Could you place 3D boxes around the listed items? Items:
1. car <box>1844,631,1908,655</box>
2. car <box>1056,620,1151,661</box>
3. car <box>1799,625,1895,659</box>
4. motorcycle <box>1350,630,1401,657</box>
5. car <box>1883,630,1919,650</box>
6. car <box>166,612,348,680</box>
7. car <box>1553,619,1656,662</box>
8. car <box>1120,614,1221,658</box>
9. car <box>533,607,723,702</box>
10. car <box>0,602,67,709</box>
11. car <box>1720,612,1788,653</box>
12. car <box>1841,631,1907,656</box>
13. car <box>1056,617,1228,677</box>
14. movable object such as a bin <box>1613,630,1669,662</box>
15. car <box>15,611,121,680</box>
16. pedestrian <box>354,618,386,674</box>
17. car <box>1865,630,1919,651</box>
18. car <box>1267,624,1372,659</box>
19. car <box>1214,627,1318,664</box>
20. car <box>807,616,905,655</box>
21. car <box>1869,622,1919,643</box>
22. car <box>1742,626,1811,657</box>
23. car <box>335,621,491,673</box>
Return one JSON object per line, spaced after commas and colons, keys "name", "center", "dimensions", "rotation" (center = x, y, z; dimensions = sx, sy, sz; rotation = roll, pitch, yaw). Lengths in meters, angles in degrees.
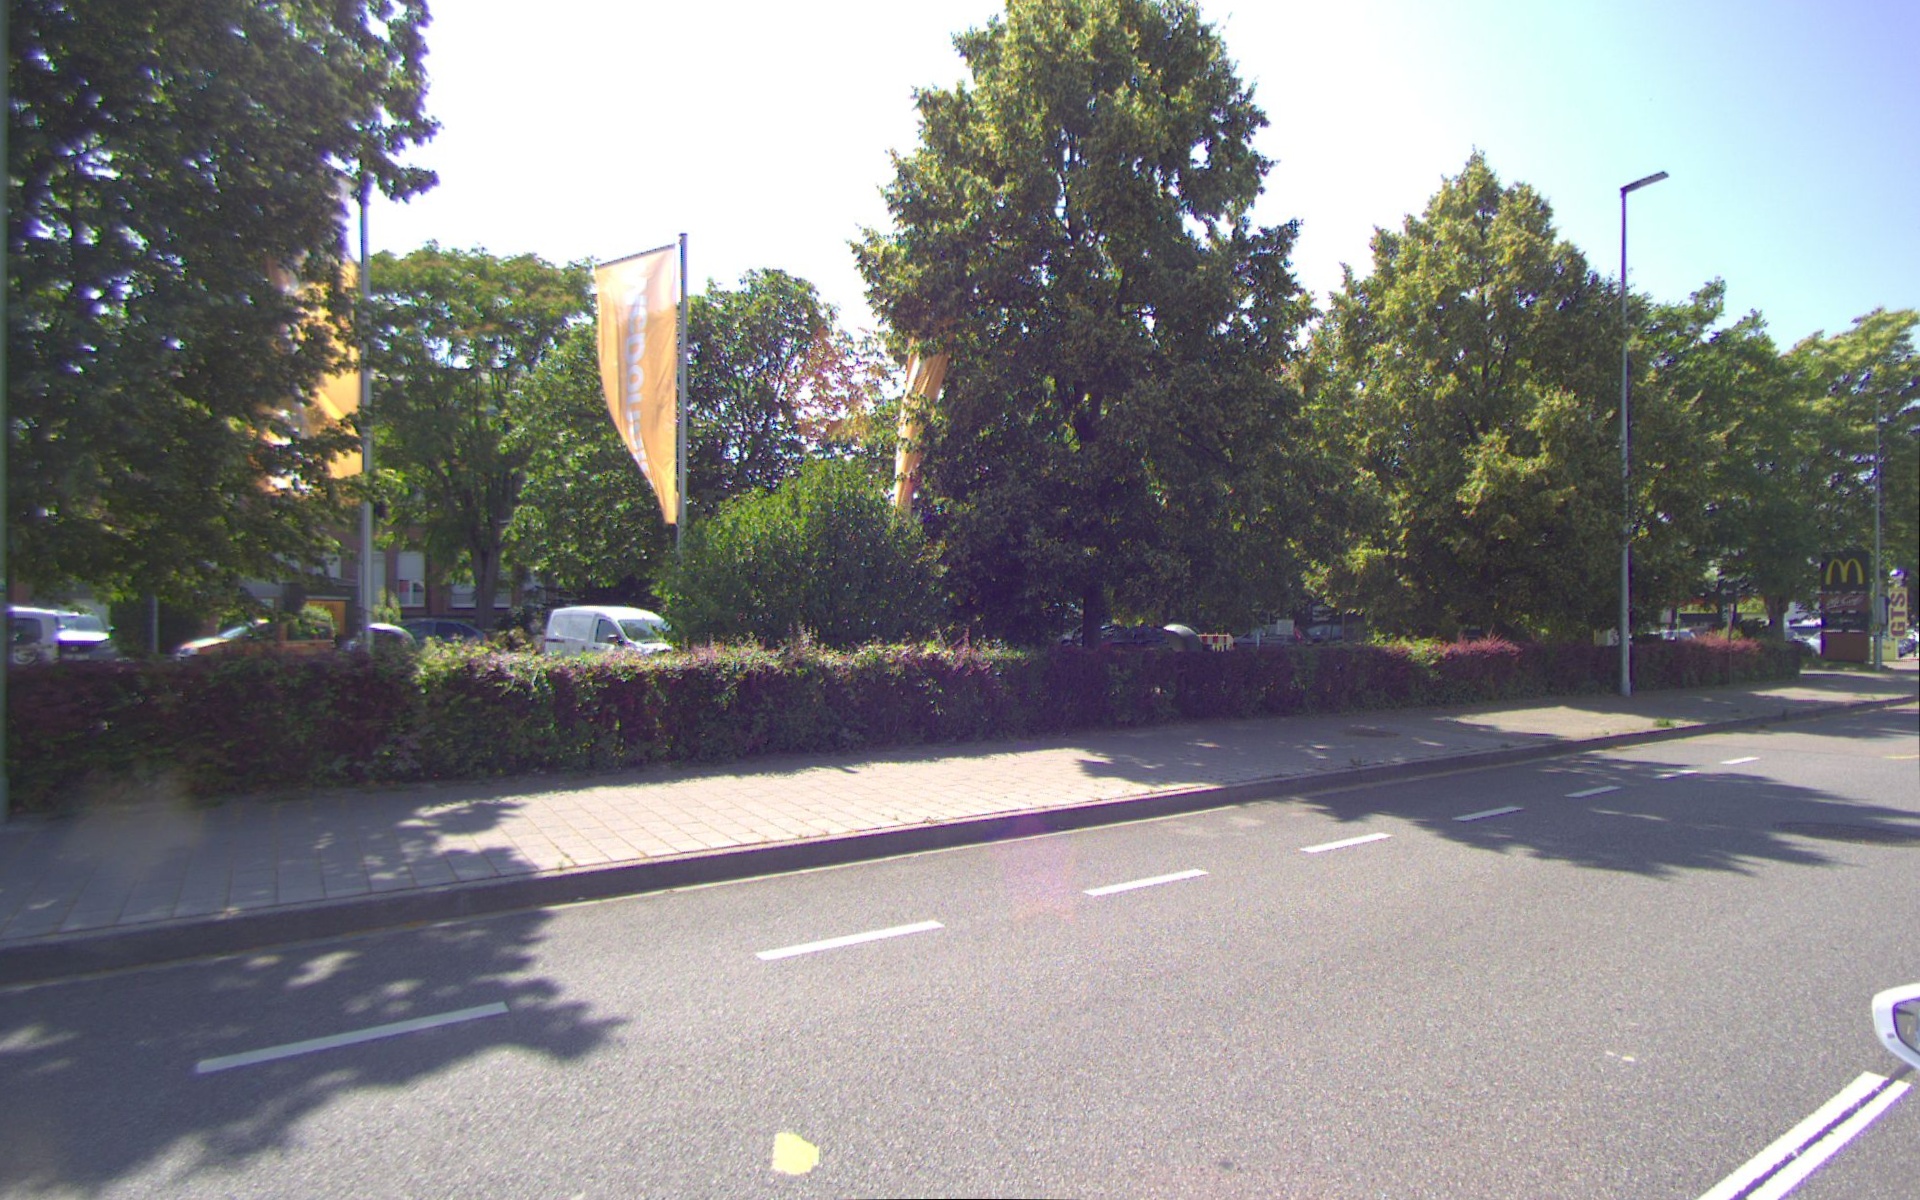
{"name": "car", "center": [61.838, 2.910, 67.892], "dimensions": [1.751, 1.492, 4.000], "rotation": [-3, -4, 21]}
{"name": "car", "center": [6.154, 1.717, 43.363], "dimensions": [3.792, 1.609, 1.635], "rotation": [1, -1, 41]}
{"name": "car", "center": [50.225, 2.428, 57.003], "dimensions": [1.941, 1.728, 4.669], "rotation": [-2, -5, 12]}
{"name": "motorcycle", "center": [19.029, 1.994, 46.031], "dimensions": [2.143, 1.147, 0.569], "rotation": [1, 0, 26]}
{"name": "car", "center": [74.544, 3.104, 78.673], "dimensions": [1.747, 1.492, 4.001], "rotation": [-3, -3, 18]}
{"name": "car", "center": [-18.706, 1.181, 26.850], "dimensions": [1.645, 1.653, 3.704], "rotation": [1, -1, 42]}
{"name": "car", "center": [32.216, 2.062, 50.385], "dimensions": [1.857, 1.945, 4.524], "rotation": [-2, -4, -5]}
{"name": "car", "center": [9.211, 1.549, 44.060], "dimensions": [3.965, 1.755, 1.792], "rotation": [1, -1, 42]}
{"name": "car", "center": [-7.166, 1.078, 21.512], "dimensions": [4.284, 1.852, 1.743], "rotation": [0, 0, 37]}
{"name": "car", "center": [-17.829, 0.932, 16.637], "dimensions": [1.729, 1.823, 4.218], "rotation": [1, -1, 32]}
{"name": "car", "center": [56.237, 2.324, 71.088], "dimensions": [6.095, 2.794, 2.261], "rotation": [2, -3, -37]}
{"name": "car", "center": [58.071, 2.775, 63.873], "dimensions": [1.807, 1.492, 3.998], "rotation": [-3, -3, 23]}
{"name": "car", "center": [5.343, 1.340, 29.211], "dimensions": [4.980, 1.581, 2.054], "rotation": [2, -2, -35]}
{"name": "movable object such as a bin", "center": [34.429, 2.346, 50.837], "dimensions": [1.432, 1.546, 1.769], "rotation": [-2, -2, -18]}
{"name": "car", "center": [-22.362, 1.087, 25.143], "dimensions": [3.561, 1.552, 1.612], "rotation": [0, -1, 43]}
{"name": "pedestrian", "center": [-17.394, 1.341, 29.621], "dimensions": [0.502, 1.611, 0.687], "rotation": [1, 0, 45]}
{"name": "car", "center": [71.441, 3.109, 76.933], "dimensions": [1.639, 1.492, 4.001], "rotation": [-3, -3, 18]}
{"name": "car", "center": [15.914, 1.800, 44.588], "dimensions": [4.036, 1.406, 1.761], "rotation": [0, -1, 42]}
{"name": "car", "center": [13.149, 1.930, 43.310], "dimensions": [4.012, 1.414, 1.619], "rotation": [0, -1, 42]}
{"name": "car", "center": [-4.360, 1.440, 41.752], "dimensions": [3.987, 1.470, 1.786], "rotation": [1, -1, 41]}
{"name": "car", "center": [92.633, 3.237, 99.351], "dimensions": [3.876, 1.985, 1.751], "rotation": [1, -1, 40]}
{"name": "car", "center": [47.219, 2.447, 58.190], "dimensions": [2.010, 1.729, 4.313], "rotation": [-1, -4, 24]}
{"name": "car", "center": [-17.575, 1.469, 32.387], "dimensions": [4.140, 1.537, 1.743], "rotation": [2, -1, -41]}
